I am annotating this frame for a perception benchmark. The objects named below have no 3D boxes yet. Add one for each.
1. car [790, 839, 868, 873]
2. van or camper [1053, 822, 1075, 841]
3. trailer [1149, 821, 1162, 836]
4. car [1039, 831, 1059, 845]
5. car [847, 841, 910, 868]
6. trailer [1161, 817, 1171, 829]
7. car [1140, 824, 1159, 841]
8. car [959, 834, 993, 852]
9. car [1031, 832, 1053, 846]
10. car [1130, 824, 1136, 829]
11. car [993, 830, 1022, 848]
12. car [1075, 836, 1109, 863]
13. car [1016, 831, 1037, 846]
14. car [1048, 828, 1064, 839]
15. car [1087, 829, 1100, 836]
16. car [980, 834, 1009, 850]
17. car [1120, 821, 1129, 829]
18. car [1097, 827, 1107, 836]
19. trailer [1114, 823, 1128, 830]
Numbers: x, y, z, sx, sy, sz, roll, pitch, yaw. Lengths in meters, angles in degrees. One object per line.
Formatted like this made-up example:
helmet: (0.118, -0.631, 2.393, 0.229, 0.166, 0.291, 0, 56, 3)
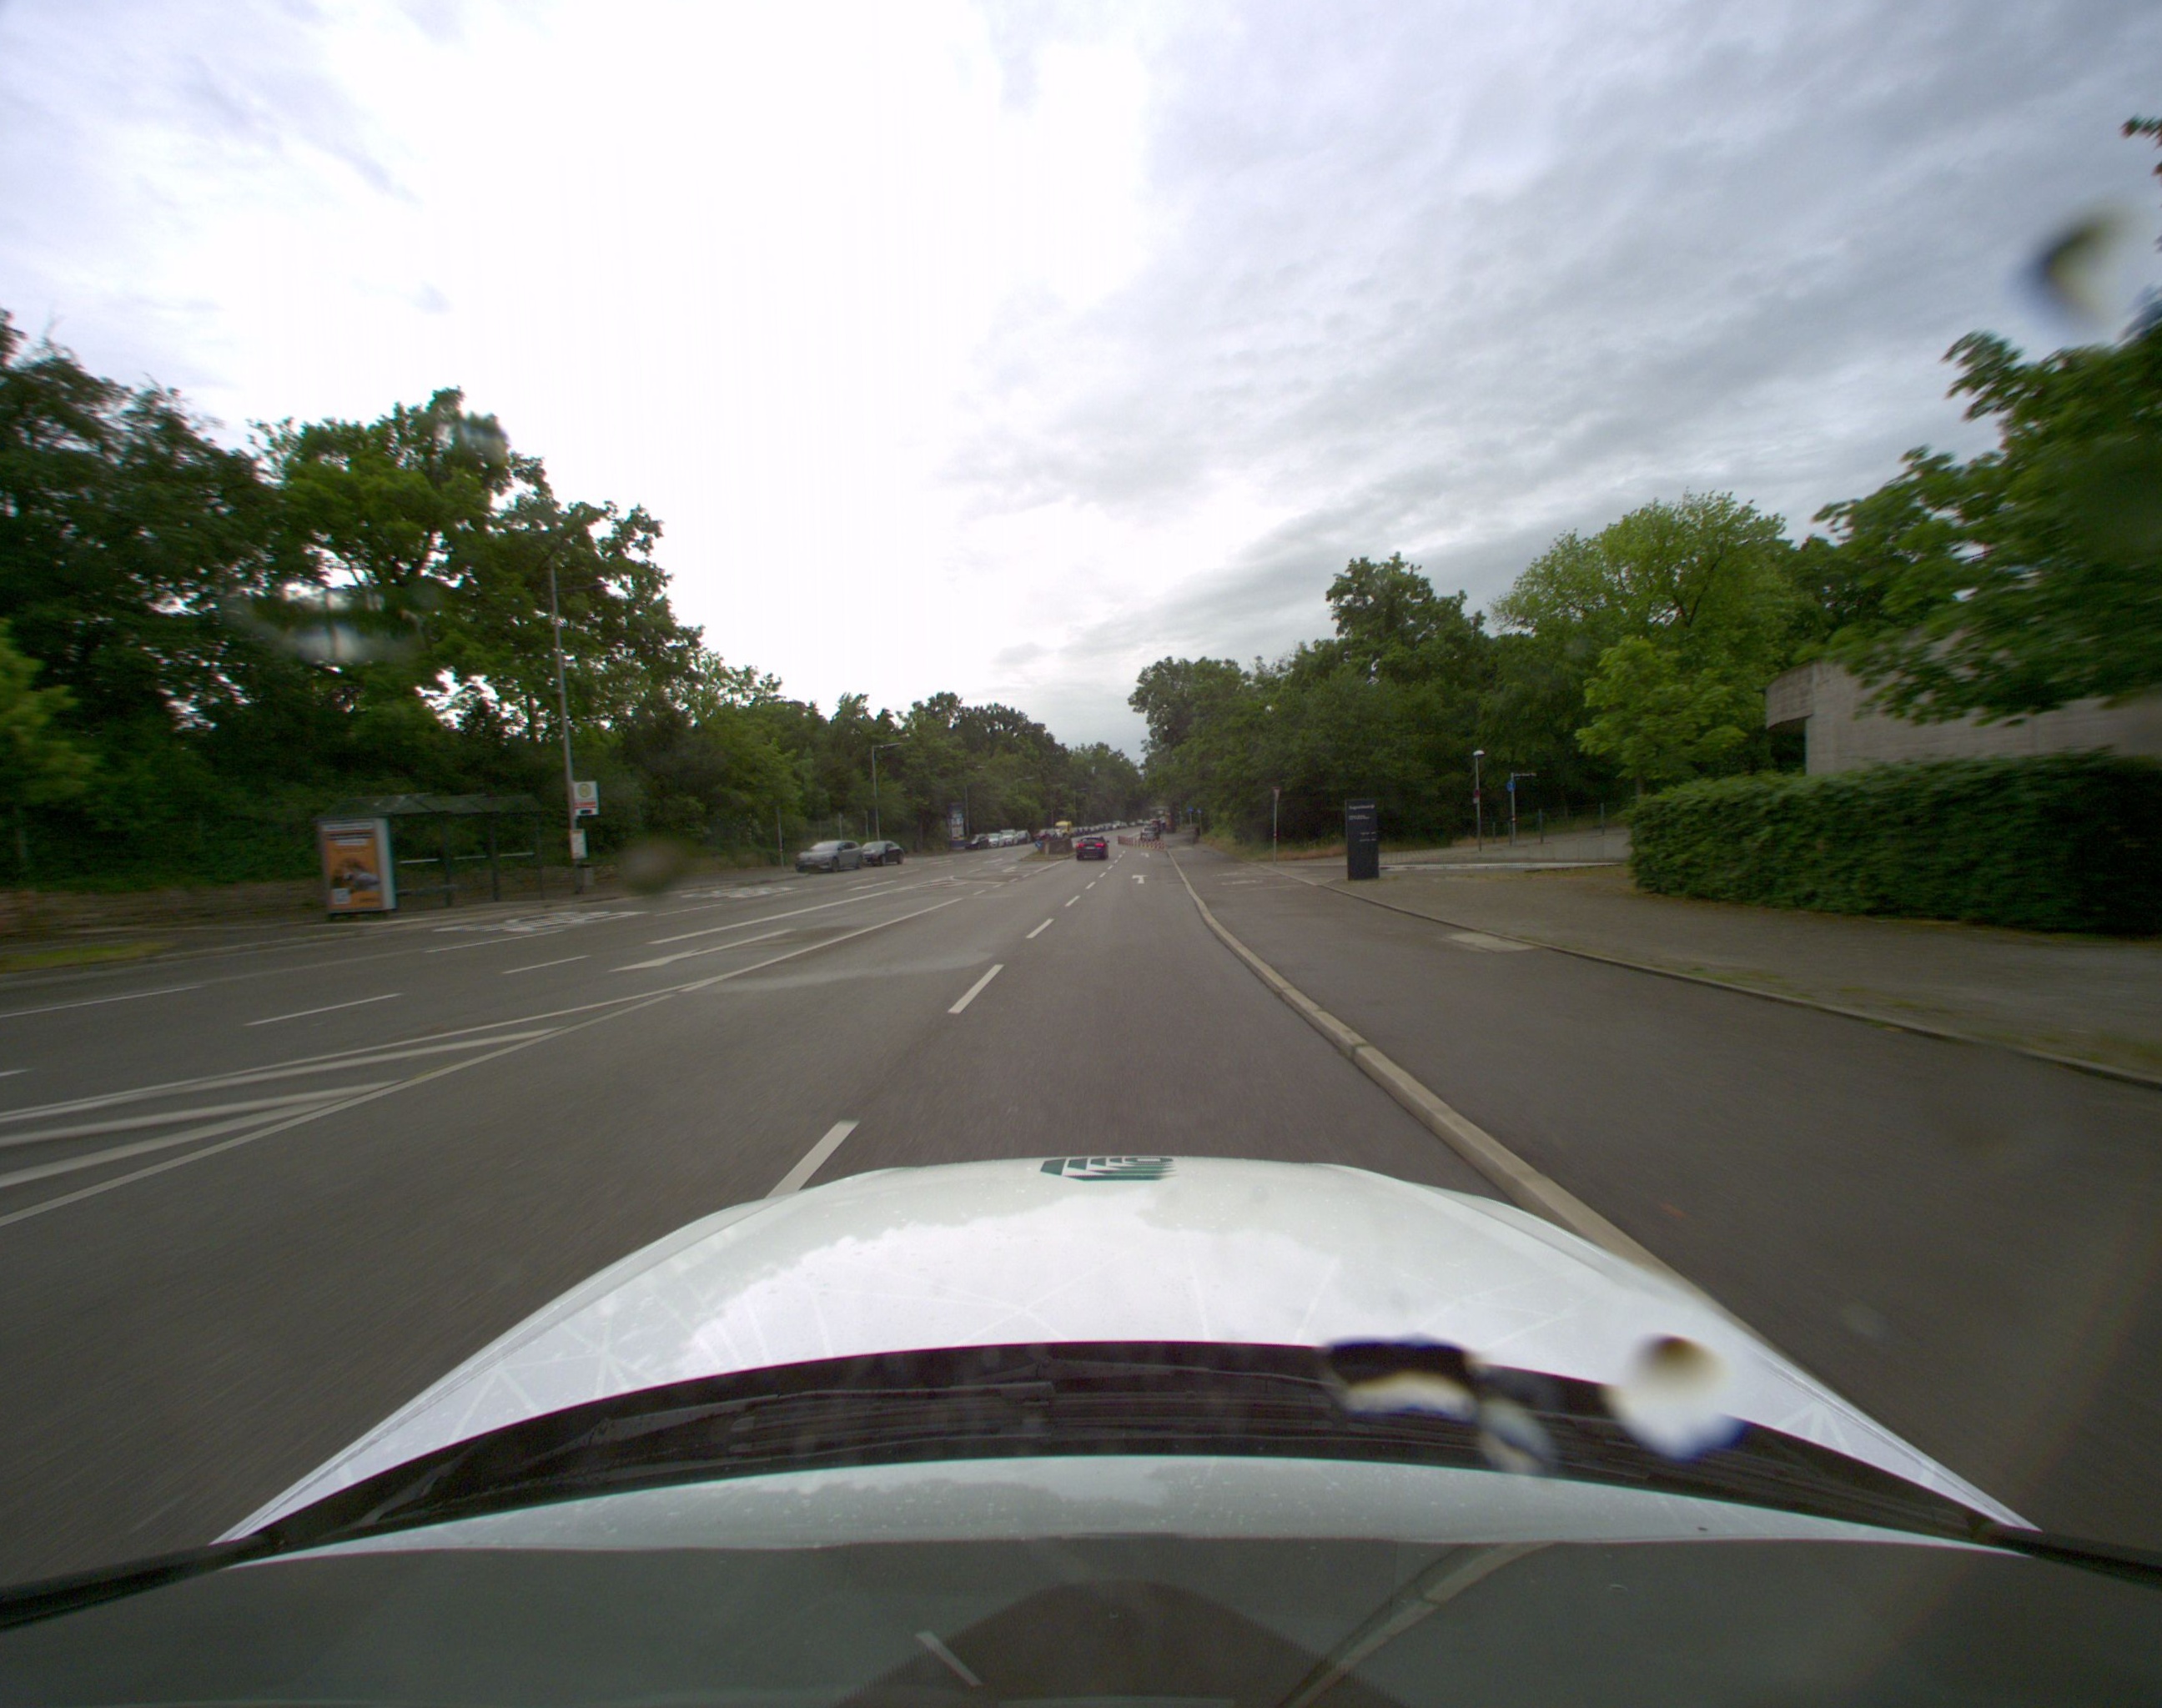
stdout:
car: (-12.517, 0.046, 40.837, 1.831, 1.589, 4.939, -1, 1, 7)
van or camper: (-2.560, -3.463, 123.413, 2.131, 2.626, 5.698, -2, 2, 9)
trailer: (12.027, -4.148, 131.389, 1.895, 2.247, 4.779, -2, 2, 8)
car: (-4.423, -2.174, 111.925, 1.983, 1.700, 4.625, -2, 2, 6)
car: (-11.541, -0.010, 46.782, 1.896, 1.414, 4.793, -1, 1, 7)
trailer: (18.462, -6.745, 177.560, 2.121, 2.559, 4.306, -2, 2, 6)
car: (6.948, -2.187, 82.761, 1.814, 1.614, 4.257, -1, 2, 4)
car: (-9.697, -1.045, 75.594, 1.738, 1.445, 4.601, -1, 2, 10)
car: (-5.060, -1.977, 106.546, 1.908, 1.616, 4.502, -3, 2, 9)
car: (15.395, -8.217, 241.836, 1.663, 1.513, 3.639, -1, 3, 8)
car: (-7.832, -1.672, 87.438, 1.982, 1.765, 4.972, -2, 2, 7)
car: (0.614, -0.303, 49.143, 1.876, 1.465, 3.999, 0, 2, -2)
car: (-6.372, -1.826, 94.896, 1.723, 1.648, 4.578, -1, 2, 5)
car: (-3.523, -2.968, 117.108, 1.608, 1.448, 3.667, -3, 2, 9)
car: (2.288, -3.949, 148.933, 1.859, 1.303, 4.481, -2, 2, 8)
car: (-8.656, -1.232, 81.879, 1.709, 1.460, 4.720, -2, 2, 8)
car: (11.158, -7.477, 207.621, 1.930, 2.013, 4.749, -2, 2, 6)
car: (4.035, -4.300, 157.349, 1.453, 1.571, 2.991, -2, 2, 7)
trailer: (9.971, -6.840, 201.577, 1.610, 1.628, 3.696, -1, 3, 39)
